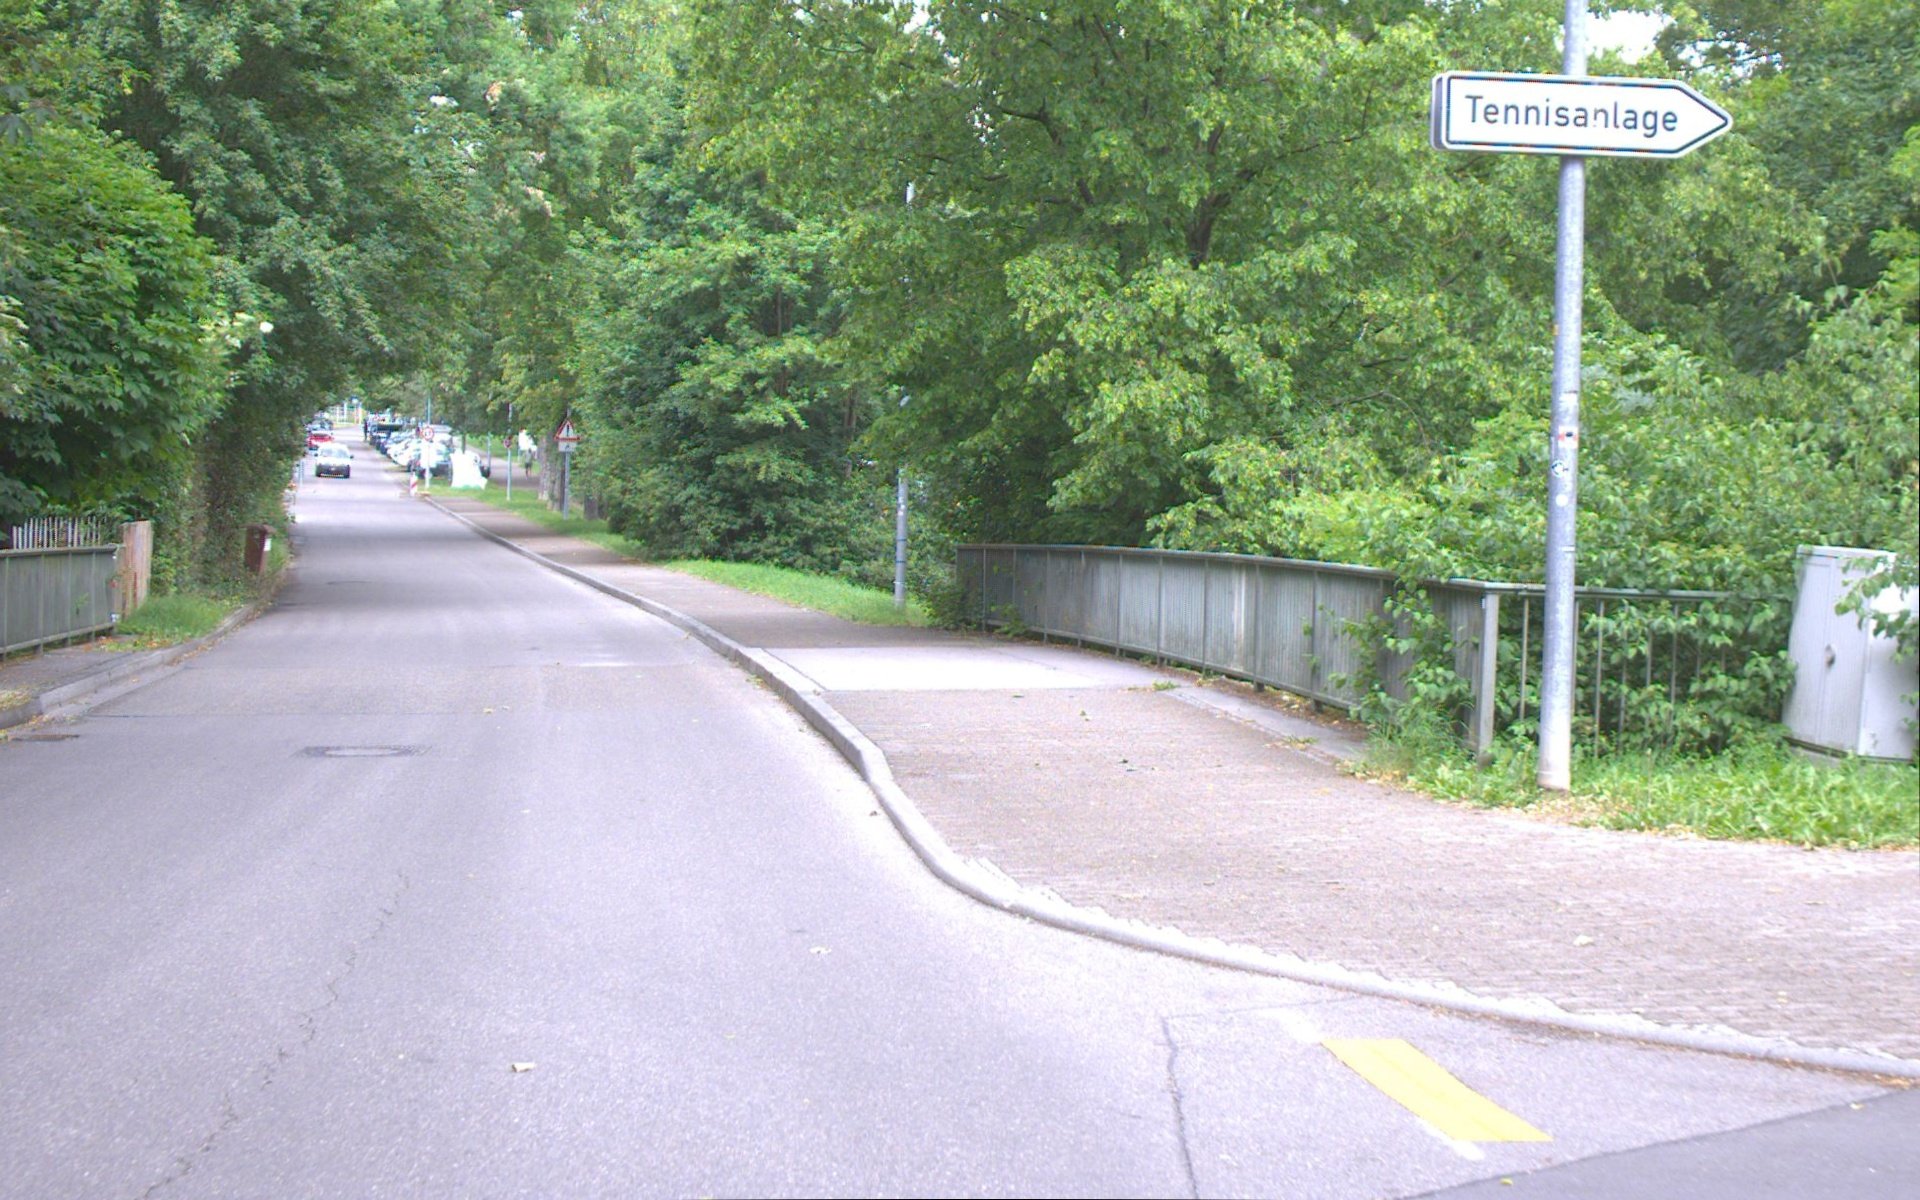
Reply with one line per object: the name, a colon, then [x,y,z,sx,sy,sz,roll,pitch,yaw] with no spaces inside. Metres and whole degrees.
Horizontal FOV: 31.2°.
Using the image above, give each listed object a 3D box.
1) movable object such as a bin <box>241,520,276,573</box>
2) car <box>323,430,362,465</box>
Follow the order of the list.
movable object such as a bin: [-12.852,-0.975,62.962,0.590,0.954,0.470,1,1,-9]
car: [-33.447,-8.236,186.175,1.993,1.766,4.001,1,1,-9]
